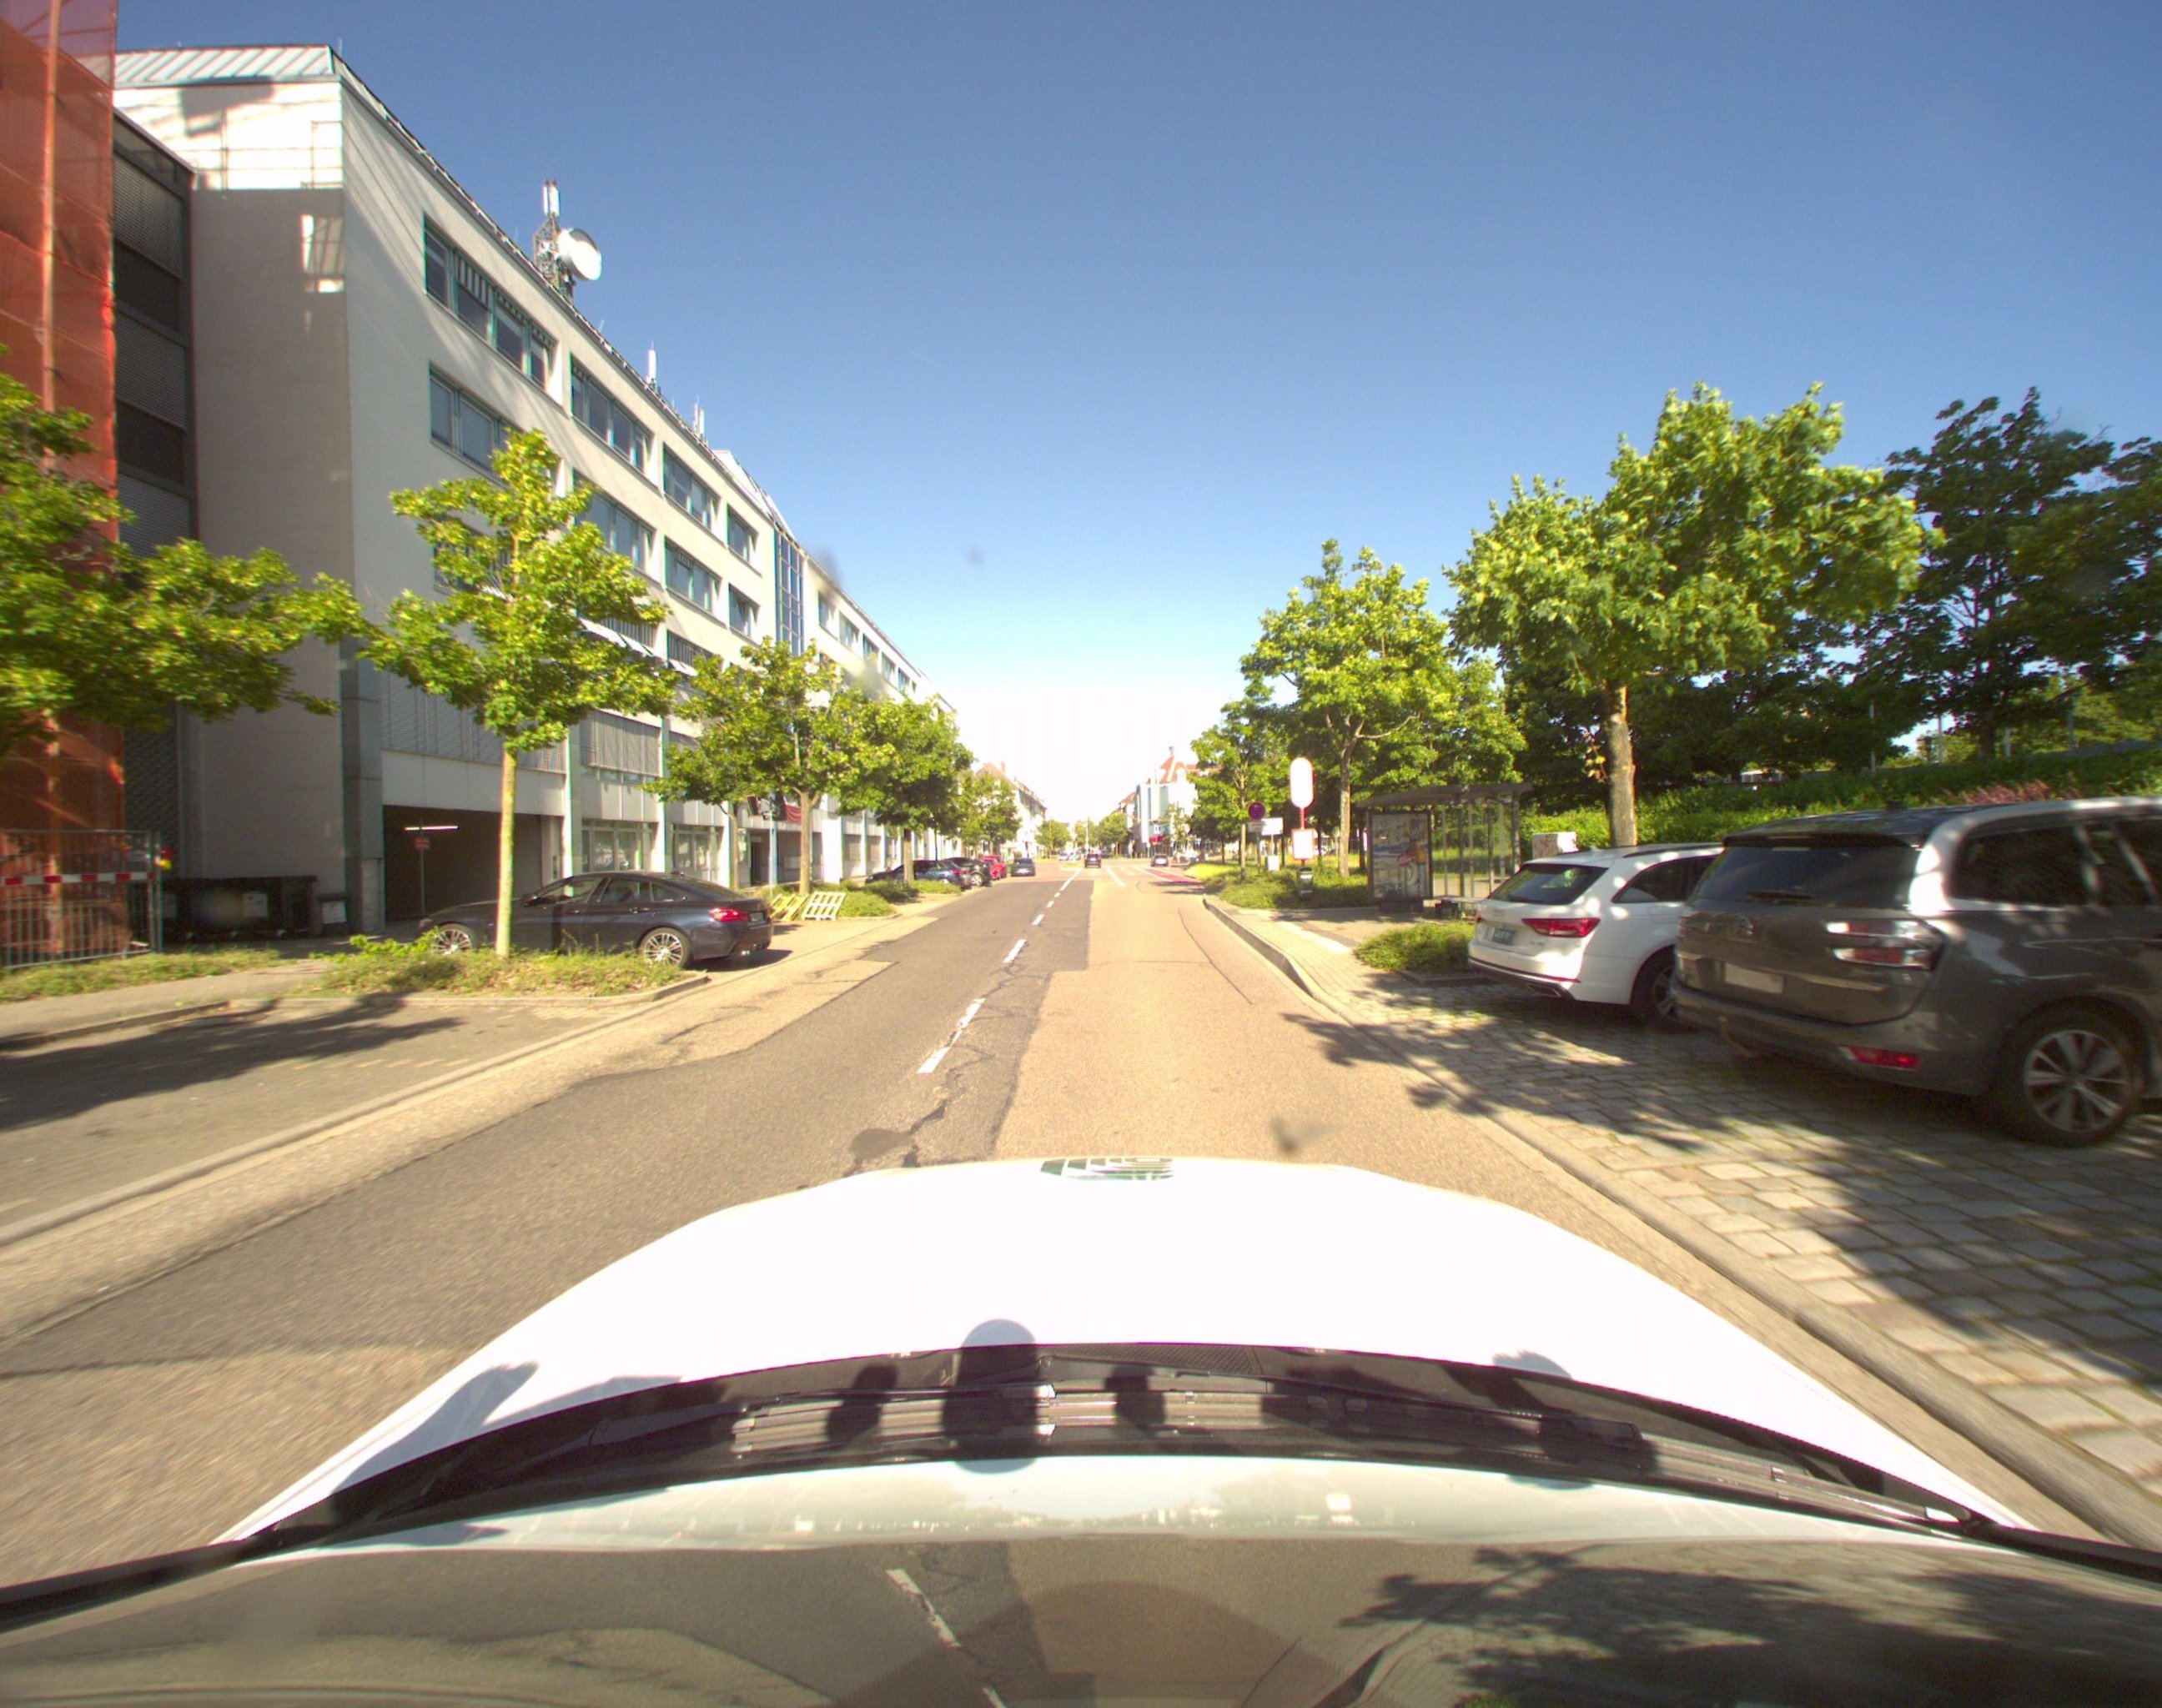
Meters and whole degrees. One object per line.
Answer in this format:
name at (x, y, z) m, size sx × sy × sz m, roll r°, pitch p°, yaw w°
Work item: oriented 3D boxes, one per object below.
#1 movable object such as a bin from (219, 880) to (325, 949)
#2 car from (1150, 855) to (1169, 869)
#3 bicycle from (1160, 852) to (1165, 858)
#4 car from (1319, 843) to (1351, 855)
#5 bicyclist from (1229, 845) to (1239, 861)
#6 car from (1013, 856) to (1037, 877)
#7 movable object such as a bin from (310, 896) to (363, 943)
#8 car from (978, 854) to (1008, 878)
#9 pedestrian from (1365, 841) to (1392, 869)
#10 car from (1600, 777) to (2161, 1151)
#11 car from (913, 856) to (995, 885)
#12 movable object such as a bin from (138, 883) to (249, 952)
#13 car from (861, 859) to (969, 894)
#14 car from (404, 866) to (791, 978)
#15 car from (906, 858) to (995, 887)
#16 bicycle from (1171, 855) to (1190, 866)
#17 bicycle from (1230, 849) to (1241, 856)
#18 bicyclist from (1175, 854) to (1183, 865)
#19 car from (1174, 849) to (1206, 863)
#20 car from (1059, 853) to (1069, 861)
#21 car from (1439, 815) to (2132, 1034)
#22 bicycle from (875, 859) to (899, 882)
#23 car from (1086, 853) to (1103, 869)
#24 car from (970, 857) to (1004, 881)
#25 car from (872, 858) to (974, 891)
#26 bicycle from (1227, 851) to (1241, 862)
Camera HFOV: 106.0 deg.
movable object such as a bin at (-16.557, 1.222, 16.690) m, size 1.231 × 1.280 × 0.915 m, roll -2°, pitch 0°, yaw 3°
car at (9.109, 0.944, 94.532) m, size 1.684 × 1.577 × 3.868 m, roll 1°, pitch 0°, yaw -2°
bicycle at (14.208, 0.104, 141.783) m, size 0.472 × 1.027 × 1.510 m, roll -2°, pitch 0°, yaw -12°
car at (34.190, -0.716, 109.717) m, size 3.840 × 1.577 × 1.696 m, roll 1°, pitch 0°, yaw 5°
bicyclist at (19.629, -0.144, 104.346) m, size 0.782 × 1.959 × 1.017 m, roll -2°, pitch 0°, yaw 38°
car at (-4.356, 0.935, 63.765) m, size 1.684 × 1.468 × 4.543 m, roll -2°, pitch 0°, yaw -2°
movable object such as a bin at (-15.560, 1.364, 17.029) m, size 0.485 × 0.927 × 0.611 m, roll -2°, pitch 0°, yaw 3°
car at (-6.234, 0.814, 58.026) m, size 1.683 × 1.607 × 4.308 m, roll 1°, pitch 0°, yaw -1°
pedestrian at (13.495, 0.035, 36.894) m, size 0.845 × 1.217 × 0.726 m, roll -3°, pitch 0°, yaw -12°
car at (5.888, 0.430, 4.735) m, size 4.387 × 1.641 × 2.074 m, roll -3°, pitch 0°, yaw 0°
car at (-7.034, 0.914, 45.430) m, size 4.377 × 1.538 × 1.691 m, roll 1°, pitch 0°, yaw -4°
movable object such as a bin at (-17.968, 1.271, 16.512) m, size 1.231 × 1.280 × 0.915 m, roll -2°, pitch 0°, yaw 3°
car at (-7.177, 0.956, 35.534) m, size 4.374 × 1.432 × 1.692 m, roll 1°, pitch 0°, yaw -3°
car at (-6.781, 0.939, 11.874) m, size 4.376 × 1.432 × 1.975 m, roll 1°, pitch 0°, yaw -4°
car at (-6.718, 0.958, 42.381) m, size 4.374 × 1.432 × 1.692 m, roll 1°, pitch 0°, yaw -3°
bicycle at (12.563, 0.850, 103.151) m, size 2.233 × 1.348 × 0.798 m, roll -2°, pitch 0°, yaw 35°
bicycle at (28.017, -0.313, 147.738) m, size 1.860 × 1.182 × 0.561 m, roll -2°, pitch 0°, yaw -4°
bicyclist at (12.460, 0.740, 103.232) m, size 0.695 × 1.348 × 0.798 m, roll -2°, pitch 0°, yaw 35°
car at (14.489, 0.272, 108.186) m, size 3.940 × 1.600 × 1.675 m, roll -3°, pitch 0°, yaw -2°
car at (-3.310, 0.561, 159.006) m, size 1.747 × 1.556 × 3.732 m, roll 1°, pitch 0°, yaw 2°
car at (5.746, 0.531, 7.113) m, size 4.387 × 1.463 × 1.895 m, roll -3°, pitch 0°, yaw 0°
bicycle at (-12.025, 1.018, 50.532) m, size 0.705 × 1.347 × 2.236 m, roll -3°, pitch 0°, yaw 6°
car at (1.434, 0.737, 89.897) m, size 1.748 × 1.628 × 4.476 m, roll 1°, pitch 0°, yaw -1°
car at (-6.083, 0.935, 52.862) m, size 1.682 × 1.432 × 3.872 m, roll 1°, pitch 0°, yaw 1°
car at (-7.300, 0.922, 37.968) m, size 4.369 × 1.432 × 1.694 m, roll 1°, pitch 0°, yaw 1°
bicycle at (19.561, 0.276, 104.230) m, size 0.782 × 1.348 × 2.277 m, roll -2°, pitch 0°, yaw 38°
